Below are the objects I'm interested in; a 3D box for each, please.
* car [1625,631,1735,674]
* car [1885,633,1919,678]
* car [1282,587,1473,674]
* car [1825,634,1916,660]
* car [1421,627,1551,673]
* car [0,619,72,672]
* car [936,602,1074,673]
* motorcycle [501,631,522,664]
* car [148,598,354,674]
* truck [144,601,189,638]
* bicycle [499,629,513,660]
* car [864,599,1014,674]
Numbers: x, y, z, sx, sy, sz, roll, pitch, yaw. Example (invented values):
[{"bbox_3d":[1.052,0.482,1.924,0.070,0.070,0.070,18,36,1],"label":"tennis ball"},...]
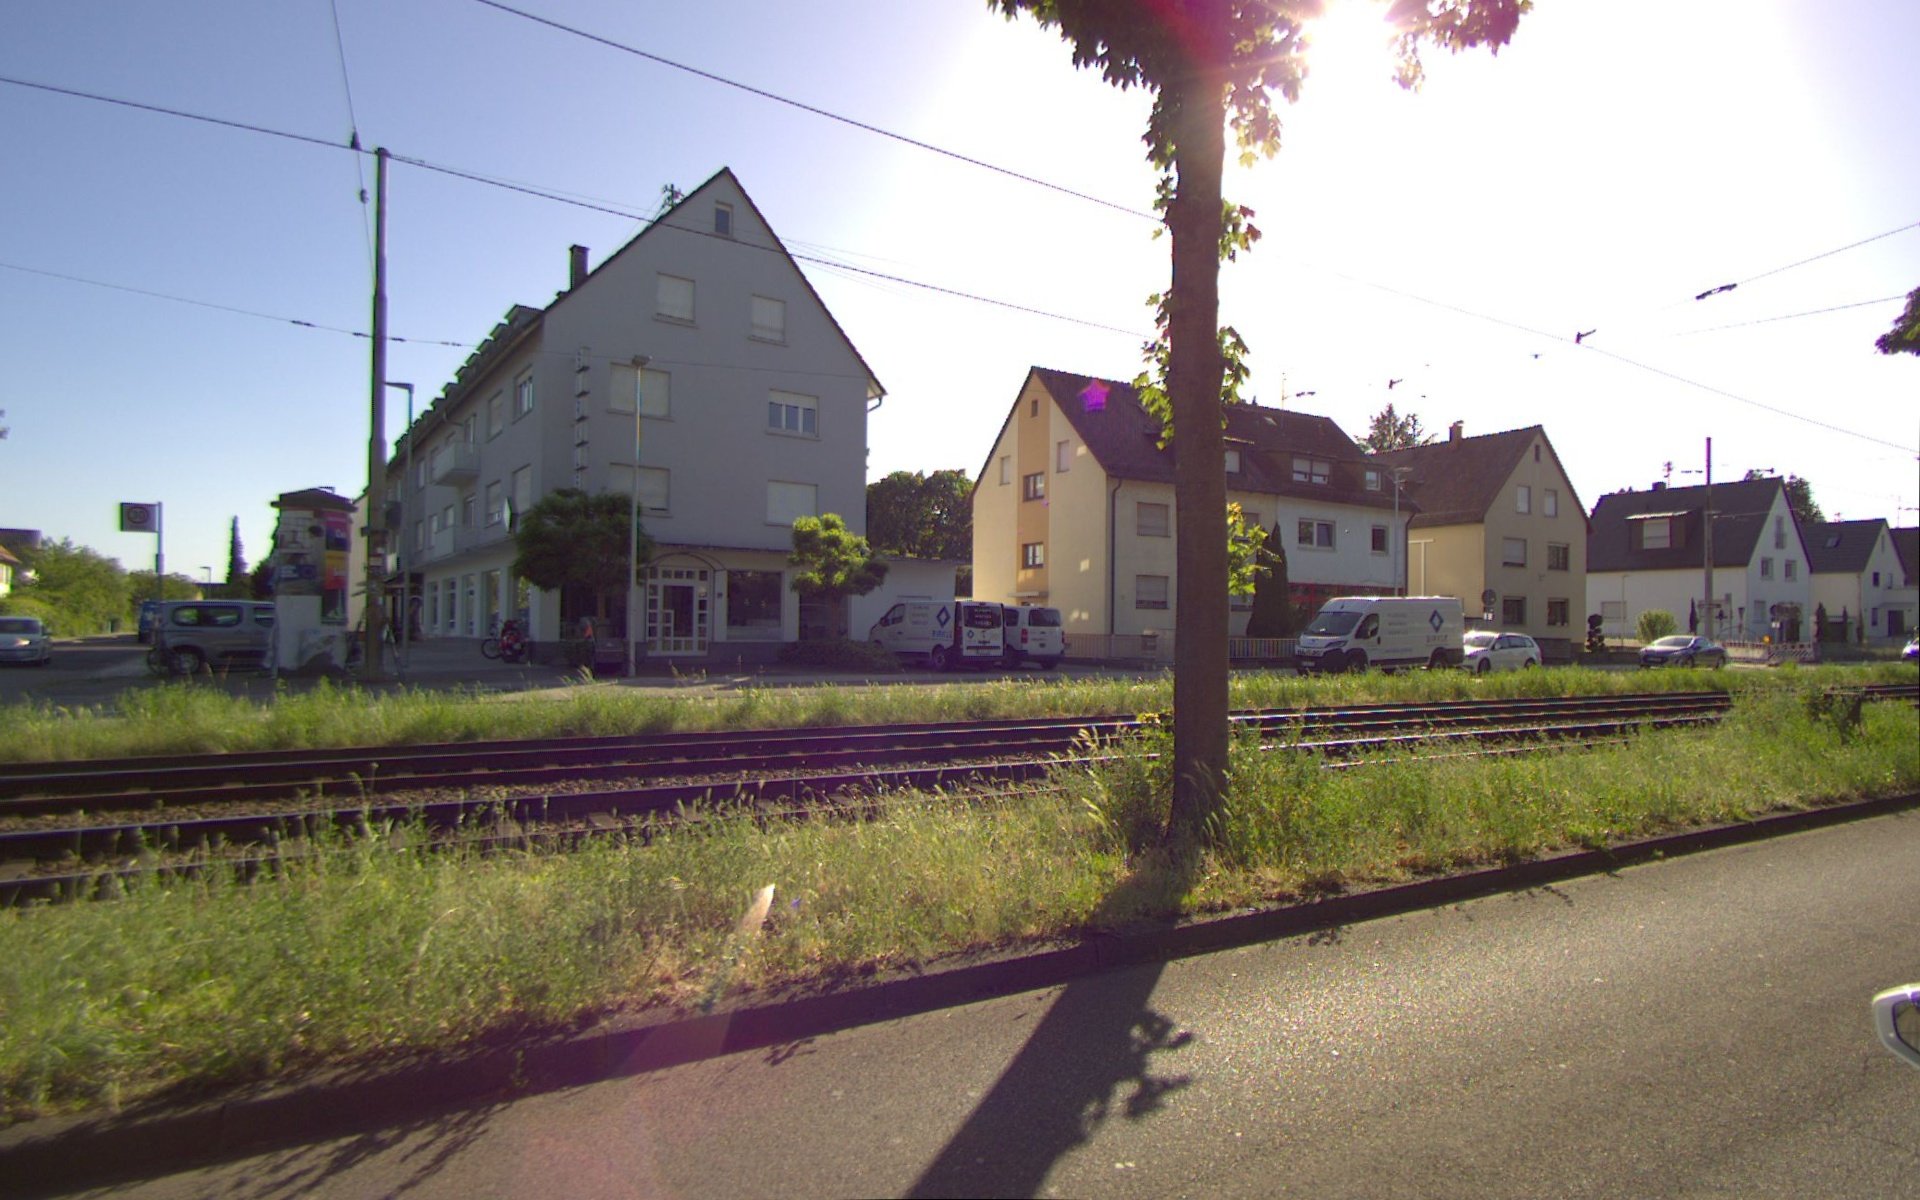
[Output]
[{"bbox_3d":[29.766,2.146,41.521,4.444,1.603,1.984,2,0,-30],"label":"car"},{"bbox_3d":[43.709,2.521,45.070,4.469,1.908,1.907,3,0,-29],"label":"car"},{"bbox_3d":[13.328,0.996,31.877,6.598,2.492,1.983,3,0,-31],"label":"car"},{"bbox_3d":[61.616,3.143,68.009,1.917,1.483,4.188,3,0,-33],"label":"car"},{"bbox_3d":[18.204,1.740,34.743,4.604,1.431,1.815,3,0,-31],"label":"car"},{"bbox_3d":[-28.543,1.352,30.594,1.732,1.497,3.592,2,-1,-34],"label":"car"},{"bbox_3d":[1.335,1.108,31.155,1.984,1.978,4.103,2,0,-40],"label":"car"},{"bbox_3d":[-12.146,1.276,27.214,0.309,0.863,0.884,1,-1,-37],"label":"motorcycle"},{"bbox_3d":[-17.675,0.907,25.161,4.065,1.692,1.781,3,0,-39],"label":"car"},{"bbox_3d":[-51.260,1.241,64.965,1.980,2.117,4.088,2,0,-35],"label":"truck"},{"bbox_3d":[-12.677,1.237,28.048,0.190,0.863,0.751,1,-1,-37],"label":"bicycle"},{"bbox_3d":[-0.693,1.014,29.630,1.984,1.971,4.579,2,-1,-40],"label":"car"}]
